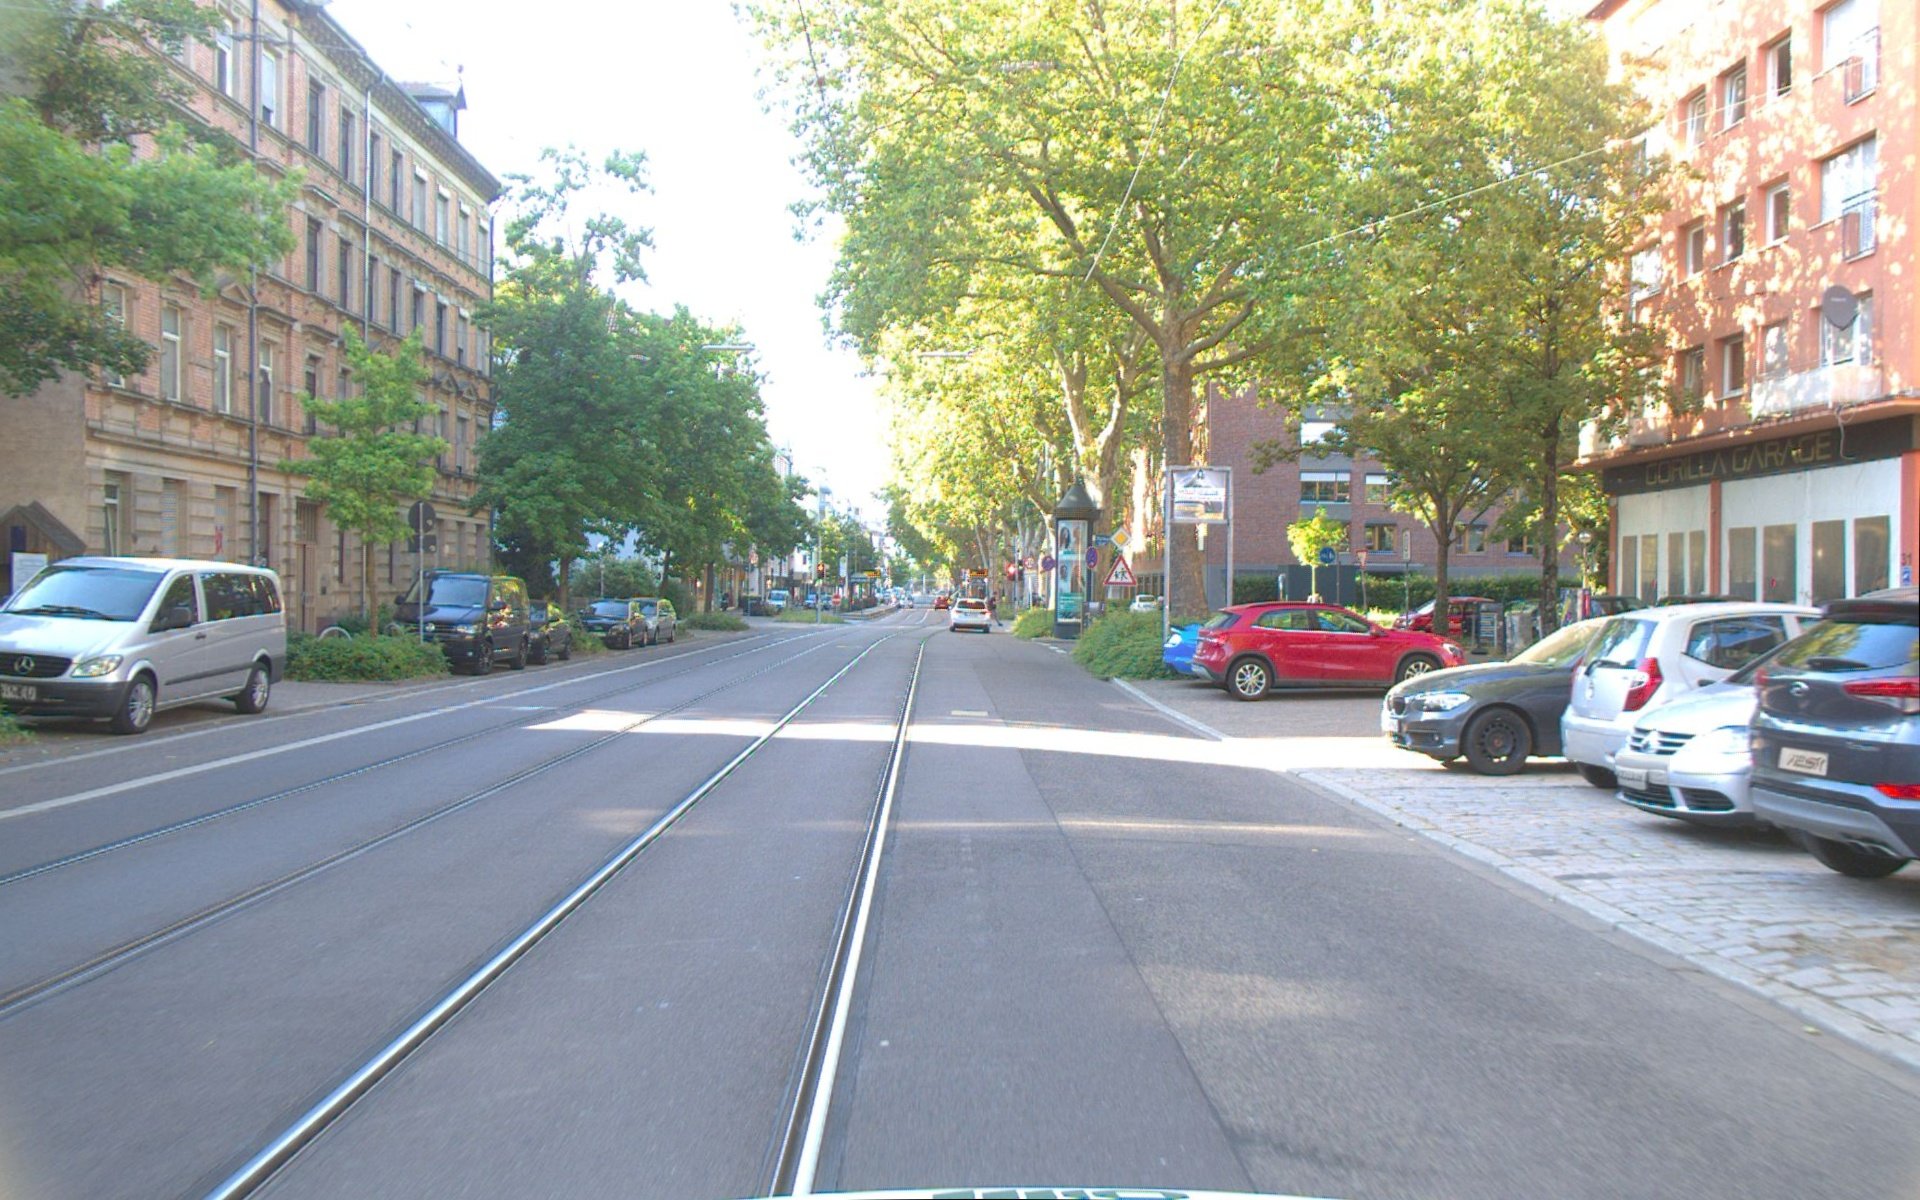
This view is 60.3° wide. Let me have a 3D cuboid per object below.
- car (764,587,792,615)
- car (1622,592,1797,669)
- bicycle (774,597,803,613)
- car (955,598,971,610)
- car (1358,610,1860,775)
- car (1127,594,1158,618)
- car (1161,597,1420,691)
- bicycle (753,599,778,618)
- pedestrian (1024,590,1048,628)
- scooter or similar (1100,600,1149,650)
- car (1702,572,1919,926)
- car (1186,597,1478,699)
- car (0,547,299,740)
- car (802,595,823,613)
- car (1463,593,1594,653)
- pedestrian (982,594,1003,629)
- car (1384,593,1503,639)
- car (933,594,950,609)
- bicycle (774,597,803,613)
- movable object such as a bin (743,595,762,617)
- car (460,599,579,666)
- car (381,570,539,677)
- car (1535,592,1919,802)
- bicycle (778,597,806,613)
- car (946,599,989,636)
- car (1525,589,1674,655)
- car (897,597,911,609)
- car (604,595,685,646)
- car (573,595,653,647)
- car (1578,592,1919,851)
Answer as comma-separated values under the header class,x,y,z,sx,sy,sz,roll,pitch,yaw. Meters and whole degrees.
class,x,y,z,sx,sy,sz,roll,pitch,yaw
car,-13.219,0.044,120.089,1.654,1.974,3.999,0,0,-1
car,15.056,0.577,33.436,1.713,1.460,3.949,0,0,-1
bicycle,-13.610,0.395,131.246,2.207,1.092,0.636,4,0,0
car,0.349,0.488,206.485,1.953,1.478,3.999,0,0,-1
car,6.104,0.846,15.877,4.115,1.473,1.817,0,0,-2
car,11.936,0.393,108.393,1.568,1.521,3.415,0,0,-2
car,5.716,0.737,29.038,4.310,1.570,1.819,0,0,6
bicycle,-12.778,0.553,108.771,1.503,1.094,0.885,3,0,-2
pedestrian,3.899,0.468,84.898,0.964,1.896,1.015,-3,0,-6
scooter or similar,4.238,0.647,42.655,1.184,1.261,0.569,0,-1,-3
car,6.400,0.693,8.772,4.117,1.647,1.877,0,0,-4
car,5.934,0.738,26.758,4.312,1.570,1.952,0,0,1
car,-9.836,0.444,19.830,1.806,2.023,4.988,0,0,0
car,-13.531,0.326,152.116,1.561,1.575,3.999,3,0,-1
car,16.028,0.600,46.895,1.755,1.602,4.572,0,0,-6
pedestrian,1.728,0.588,88.166,0.975,1.843,0.863,0,0,-6
car,16.100,0.526,55.134,3.467,1.477,1.683,0,0,-3
car,-2.015,0.148,178.837,1.752,1.540,3.999,0,0,-1
bicycle,-13.790,0.394,132.989,2.207,1.092,0.636,4,0,0
movable object such as a bin,-13.376,0.373,106.687,1.147,1.372,0.782,4,0,-5
car,-10.393,0.724,39.305,1.816,1.484,4.268,0,0,-2
car,-10.206,0.440,34.140,1.953,2.049,4.832,0,0,-2
car,7.046,0.735,13.478,4.113,1.583,1.818,0,0,1
bicycle,-13.679,0.410,134.822,2.207,1.092,0.636,4,0,0
car,0.302,0.752,71.710,1.752,1.540,3.999,0,0,-1
car,14.855,0.476,38.696,1.713,1.460,4.467,0,0,-1
car,-6.880,0.315,203.811,1.659,1.444,3.999,0,0,-1
car,-10.442,0.647,55.079,1.664,1.577,4.537,1,0,2
car,-10.352,0.603,49.599,1.624,1.470,3.948,1,0,-2
car,6.563,0.755,11.175,4.113,1.601,1.818,0,0,1
